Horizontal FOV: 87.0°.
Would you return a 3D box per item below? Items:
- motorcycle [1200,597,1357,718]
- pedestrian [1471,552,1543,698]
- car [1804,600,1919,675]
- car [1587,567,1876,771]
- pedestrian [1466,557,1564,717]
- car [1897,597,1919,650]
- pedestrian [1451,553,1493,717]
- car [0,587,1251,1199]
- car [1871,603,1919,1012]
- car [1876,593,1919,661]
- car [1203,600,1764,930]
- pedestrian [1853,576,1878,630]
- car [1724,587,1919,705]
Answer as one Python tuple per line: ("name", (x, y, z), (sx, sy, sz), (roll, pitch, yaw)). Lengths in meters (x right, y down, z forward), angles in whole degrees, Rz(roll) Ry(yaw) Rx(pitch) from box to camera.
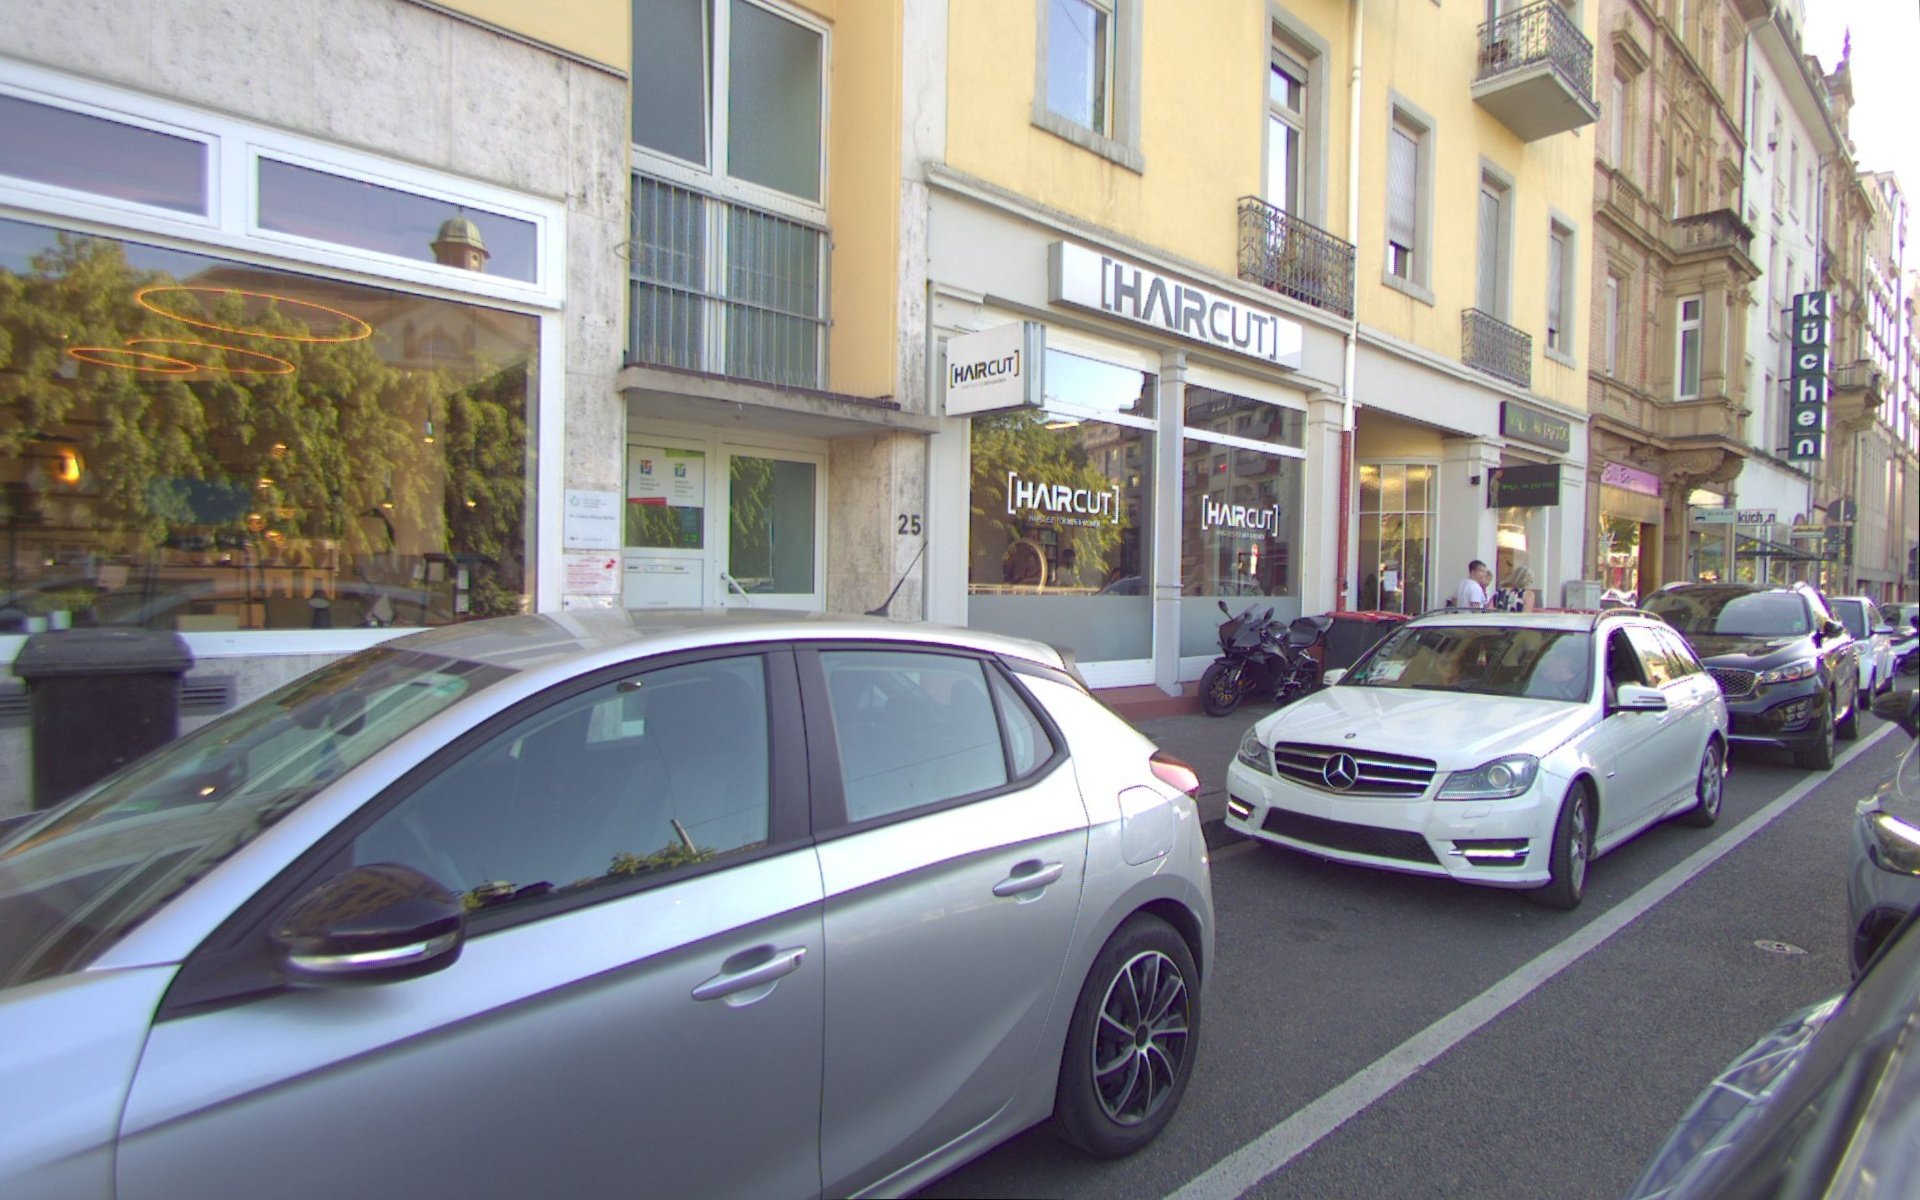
("motorcycle", (3.311, 0.545, 10.424), (1.920, 1.091, 0.567), (-1, 4, -41))
("pedestrian", (7.252, 0.320, 13.420), (0.565, 1.874, 0.664), (0, 0, -39))
("car", (18.109, 0.667, 19.900), (4.016, 1.282, 1.800), (-1, 1, -42))
("car", (8.015, 0.540, 10.362), (4.176, 1.659, 1.799), (-1, 0, -45))
("pedestrian", (6.119, 0.377, 11.159), (0.595, 1.674, 0.719), (0, 3, -40))
("car", (26.576, 0.603, 27.153), (3.773, 1.357, 1.800), (-1, 1, -42))
("pedestrian", (6.485, 0.425, 12.805), (0.371, 2.008, 0.686), (1, 1, 33))
("car", (-1.003, 0.697, 2.282), (3.597, 1.445, 1.549), (-1, 1, -42))
("car", (5.249, 0.704, 4.219), (3.932, 1.376, 1.800), (-1, 1, -43))
("car", (22.292, 0.578, 23.113), (4.016, 1.450, 1.657), (-1, 0, -42))
("car", (3.537, 0.711, 6.433), (4.302, 1.376, 1.703), (-1, 0, -41))
("pedestrian", (31.854, 0.098, 35.604), (0.653, 1.874, 0.574), (0, 0, -40))
("car", (13.158, 0.578, 15.348), (4.016, 1.546, 1.800), (-1, 0, -42))
